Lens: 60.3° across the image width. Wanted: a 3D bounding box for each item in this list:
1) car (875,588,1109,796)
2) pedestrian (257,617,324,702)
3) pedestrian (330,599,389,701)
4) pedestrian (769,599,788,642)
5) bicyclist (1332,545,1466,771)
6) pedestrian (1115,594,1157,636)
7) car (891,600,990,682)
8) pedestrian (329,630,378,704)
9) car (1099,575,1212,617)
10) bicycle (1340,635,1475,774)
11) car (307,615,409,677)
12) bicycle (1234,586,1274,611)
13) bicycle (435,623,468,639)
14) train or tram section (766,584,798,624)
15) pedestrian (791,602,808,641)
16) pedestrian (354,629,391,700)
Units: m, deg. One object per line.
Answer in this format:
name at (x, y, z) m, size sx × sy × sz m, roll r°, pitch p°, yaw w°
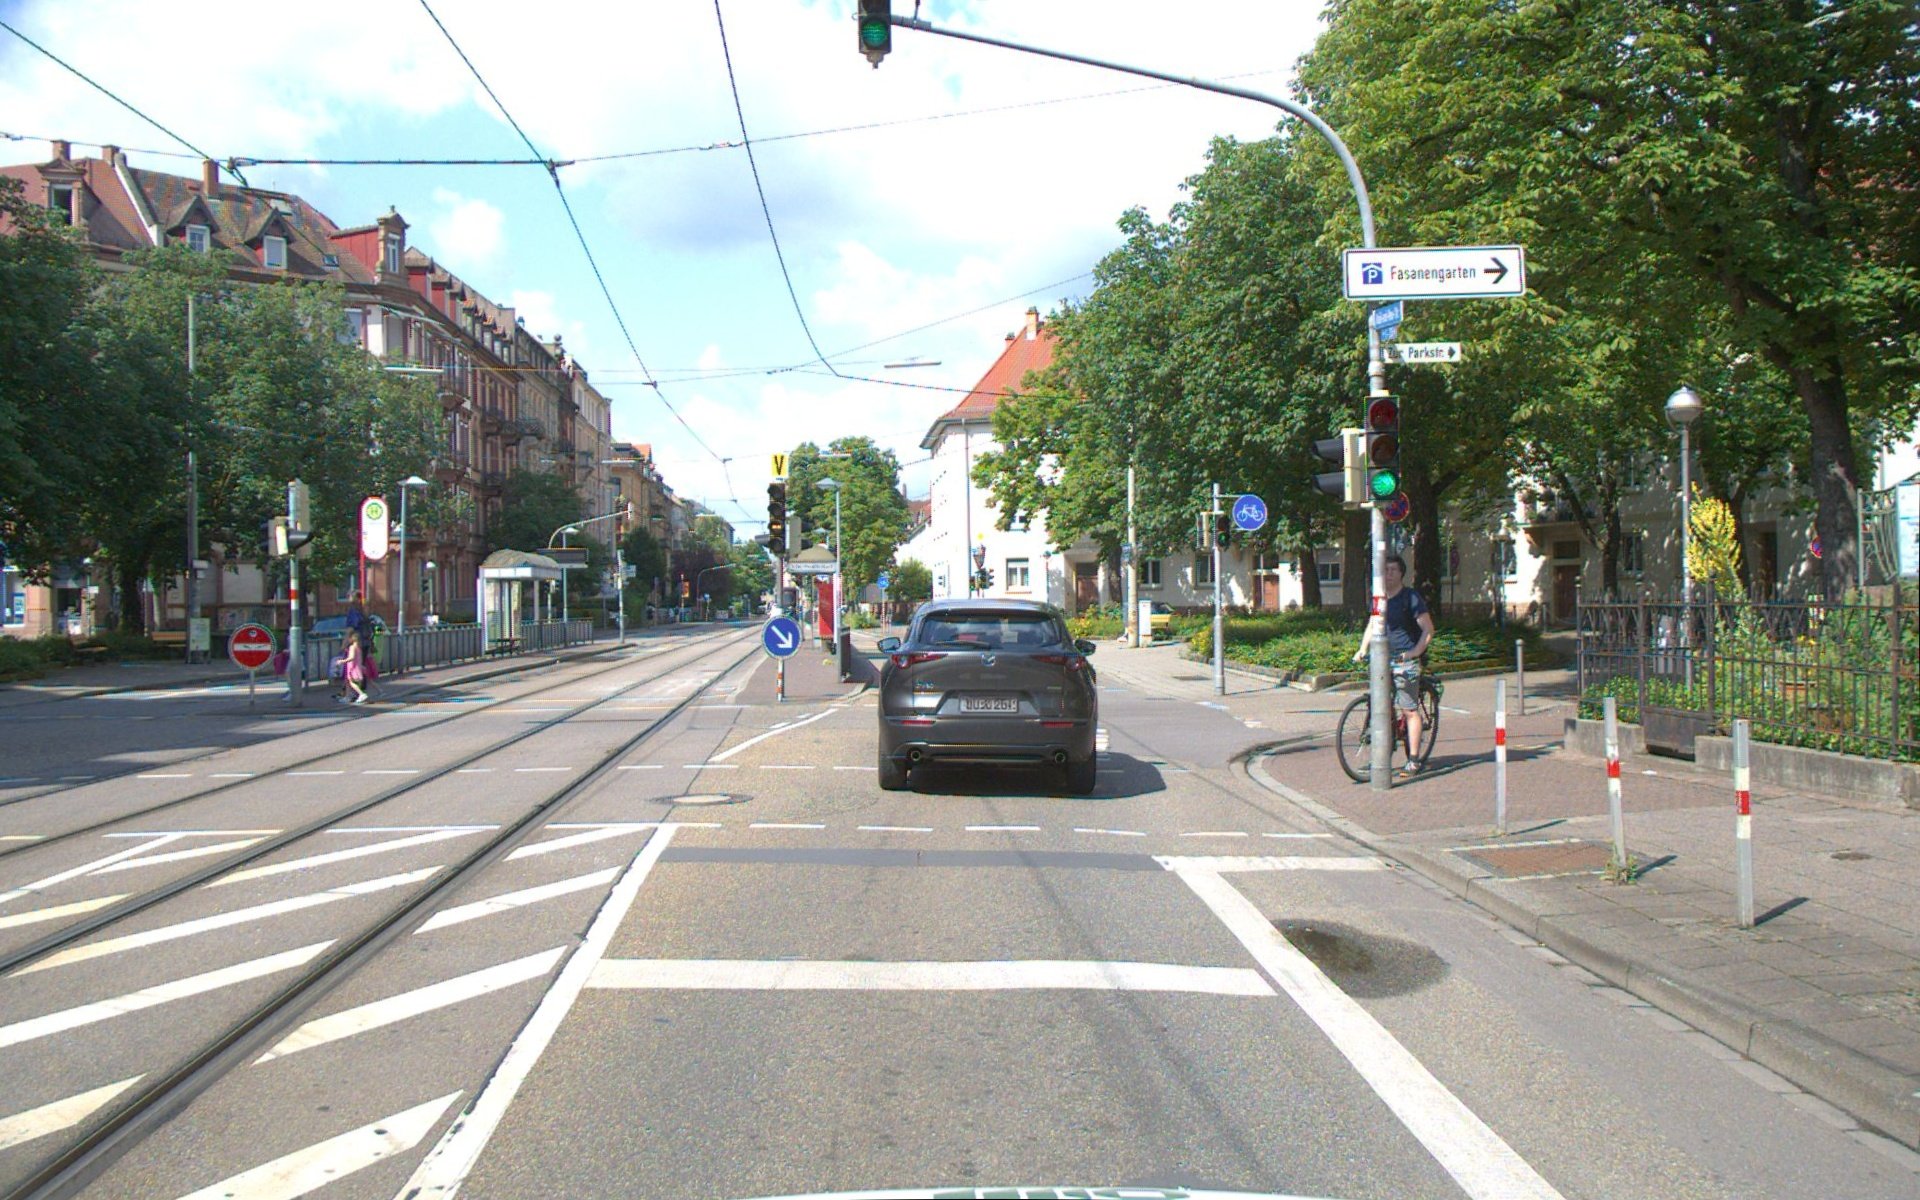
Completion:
car at (0.221, 0.716, 14.522) m, size 1.746 × 1.540 × 3.999 m, roll 1°, pitch -1°, yaw -1°
pedestrian at (-10.917, 0.962, 26.991) m, size 0.810 × 1.326 × 0.716 m, roll -3°, pitch 0°, yaw -10°
pedestrian at (-9.559, 0.787, 26.337) m, size 0.714 × 1.593 × 0.797 m, roll -1°, pitch -1°, yaw -10°
pedestrian at (-7.382, 0.825, 67.259) m, size 0.756 × 1.704 × 0.667 m, roll -1°, pitch 0°, yaw -6°
bicyclist at (3.720, 0.471, 14.047) m, size 0.724 × 1.851 × 0.813 m, roll -1°, pitch 0°, yaw -27°
pedestrian at (5.634, 0.479, 53.041) m, size 1.170 × 1.291 × 0.556 m, roll -3°, pitch 0°, yaw -10°
car at (-0.432, 0.761, 32.266) m, size 1.740 × 1.490 × 3.839 m, roll 1°, pitch 0°, yaw -4°
pedestrian at (-9.447, 1.040, 25.776) m, size 0.629 × 1.133 × 0.443 m, roll -1°, pitch -1°, yaw -10°
car at (7.811, -0.148, 66.249) m, size 4.090 × 1.536 × 1.844 m, roll -1°, pitch 1°, yaw 37°
bicycle at (3.865, 0.867, 14.204) m, size 0.382 × 1.053 × 1.836 m, roll -1°, pitch 0°, yaw 39°
car at (-15.079, 1.126, 41.596) m, size 1.594 × 1.411 × 3.431 m, roll -2°, pitch 0°, yaw -6°
bicycle at (12.909, -0.074, 72.632) m, size 0.562 × 1.037 × 1.726 m, roll -3°, pitch 1°, yaw -42°
bicycle at (-24.343, 1.484, 79.211) m, size 0.378 × 0.760 × 1.707 m, roll -1°, pitch 0°, yaw 31°
train or tram section at (-18.964, 0.505, 177.205) m, size 2.939 × 4.053 × 13.794 m, roll -1°, pitch -1°, yaw -4°
pedestrian at (-6.446, 0.859, 66.466) m, size 0.654 × 1.573 × 0.580 m, roll -1°, pitch 0°, yaw -6°
pedestrian at (-9.562, 1.043, 26.926) m, size 0.429 × 1.127 × 0.422 m, roll -3°, pitch 0°, yaw -10°
